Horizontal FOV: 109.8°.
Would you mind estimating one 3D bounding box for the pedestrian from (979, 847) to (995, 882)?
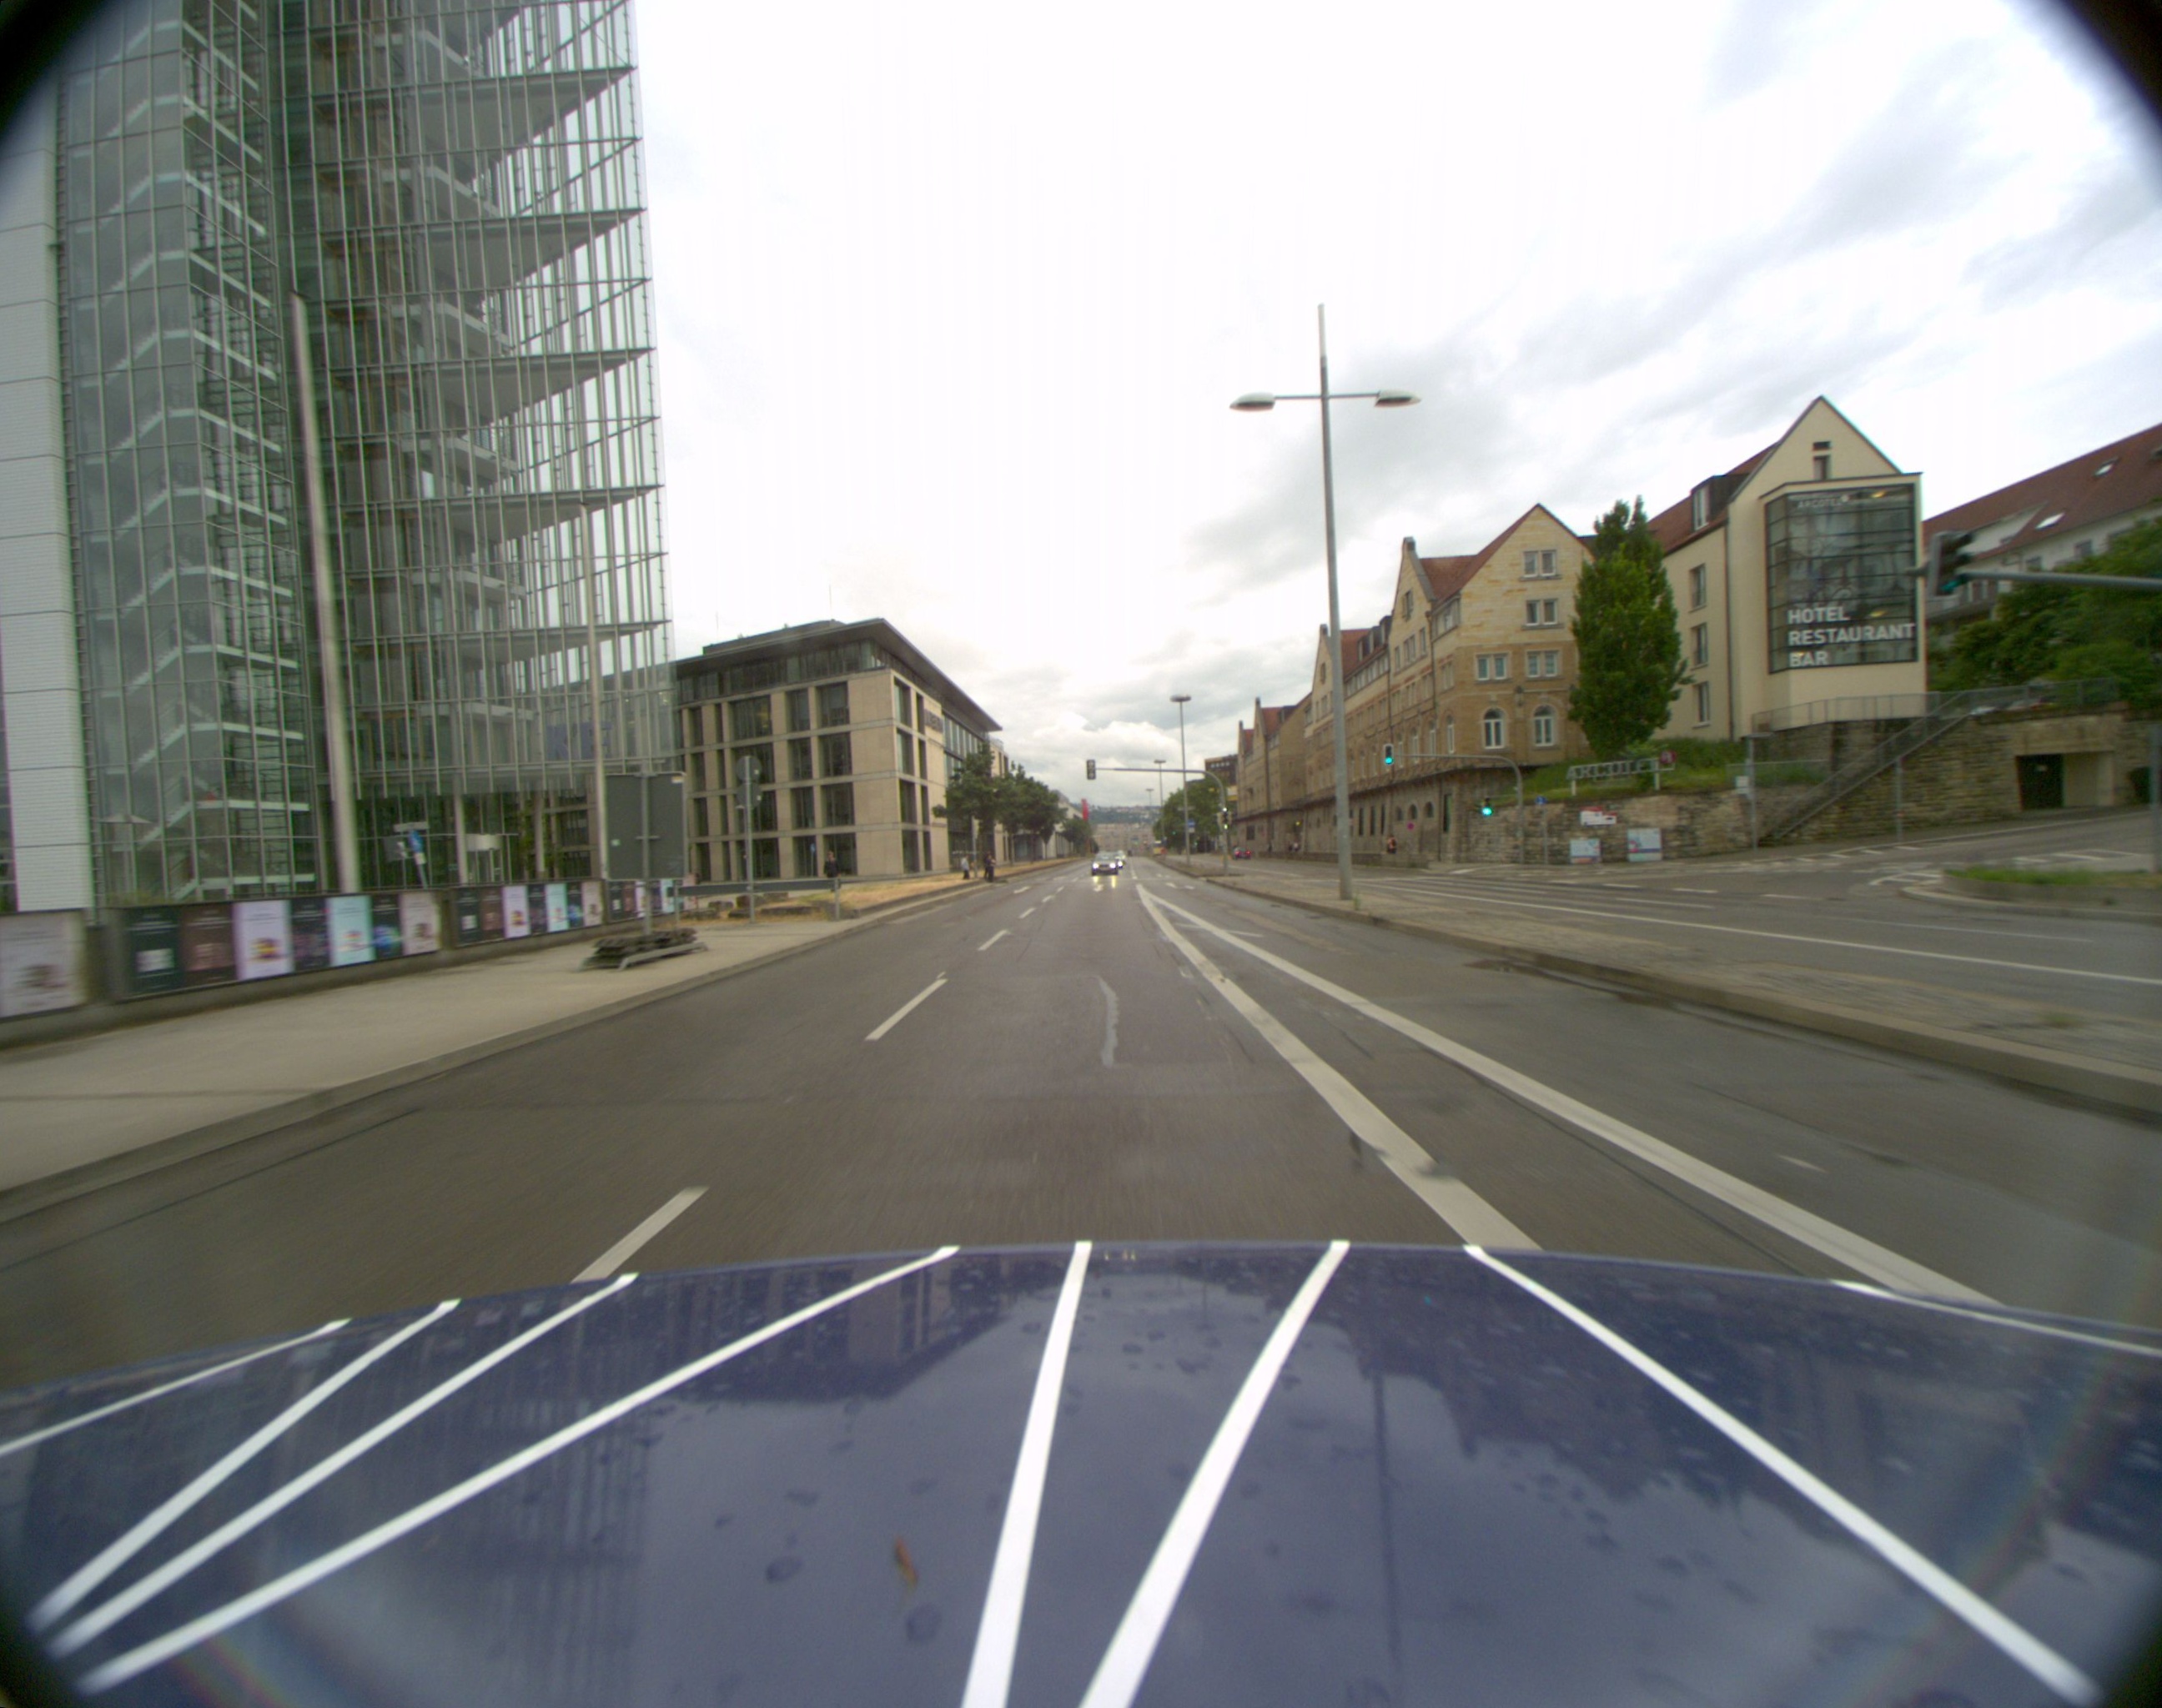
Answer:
[{"bbox_3d":[-4.872,0.557,39.312,0.728,1.761,0.783,-2,2,-5],"label":"pedestrian"}]

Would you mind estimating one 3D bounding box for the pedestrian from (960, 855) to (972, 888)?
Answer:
[{"bbox_3d":[-5.673,0.861,37.458,0.461,1.590,0.655,-2,2,-11],"label":"pedestrian"}]

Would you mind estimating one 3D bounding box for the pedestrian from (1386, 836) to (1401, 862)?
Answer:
[{"bbox_3d":[21.379,-0.332,51.969,0.678,1.769,0.683,-2,2,-1],"label":"pedestrian"}]

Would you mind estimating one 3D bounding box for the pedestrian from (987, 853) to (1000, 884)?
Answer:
[{"bbox_3d":[-4.380,0.700,38.179,0.542,1.519,0.600,-2,2,-3],"label":"pedestrian"}]

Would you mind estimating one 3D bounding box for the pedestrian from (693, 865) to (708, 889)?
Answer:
[{"bbox_3d":[-27.814,1.693,55.513,0.634,1.735,0.635,-1,2,24],"label":"pedestrian"}]

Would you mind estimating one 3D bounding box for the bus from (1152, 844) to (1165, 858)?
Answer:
[{"bbox_3d":[18.436,-0.710,180.528,2.499,3.320,8.447,-3,0,4],"label":"bus"}]

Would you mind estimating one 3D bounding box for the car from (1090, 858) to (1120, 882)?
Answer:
[{"bbox_3d":[1.555,1.035,50.600,1.684,1.379,3.474,-2,1,-3],"label":"car"}]

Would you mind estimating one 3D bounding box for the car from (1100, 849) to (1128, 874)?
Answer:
[{"bbox_3d":[2.844,0.646,66.423,1.999,2.002,3.997,-2,2,-4],"label":"car"}]

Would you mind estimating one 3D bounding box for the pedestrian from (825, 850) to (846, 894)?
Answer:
[{"bbox_3d":[-9.301,0.673,28.770,0.661,1.601,0.546,-3,1,-20],"label":"pedestrian"}]

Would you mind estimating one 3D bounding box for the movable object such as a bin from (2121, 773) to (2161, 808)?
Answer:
[{"bbox_3d":[42.115,-2.519,29.841,0.826,1.237,1.118,-9,0,2],"label":"movable object such as a bin"}]

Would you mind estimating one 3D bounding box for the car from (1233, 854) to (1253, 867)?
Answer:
[{"bbox_3d":[19.132,0.746,89.759,1.714,1.455,4.001,-3,0,3],"label":"car"}]

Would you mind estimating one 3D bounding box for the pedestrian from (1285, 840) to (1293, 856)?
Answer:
[{"bbox_3d":[23.842,-0.717,87.014,0.677,1.769,0.683,-2,2,3],"label":"pedestrian"}]

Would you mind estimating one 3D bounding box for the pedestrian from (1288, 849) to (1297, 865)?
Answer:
[{"bbox_3d":[22.787,0.325,81.863,0.677,1.769,0.683,-2,2,3],"label":"pedestrian"}]

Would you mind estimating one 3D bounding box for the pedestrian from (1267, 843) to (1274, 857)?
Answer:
[{"bbox_3d":[24.428,-0.517,98.014,0.677,1.769,0.683,-2,2,3],"label":"pedestrian"}]

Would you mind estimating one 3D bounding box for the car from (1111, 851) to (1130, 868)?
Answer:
[{"bbox_3d":[4.393,0.631,84.885,1.970,1.815,3.929,-3,-1,3],"label":"car"}]
